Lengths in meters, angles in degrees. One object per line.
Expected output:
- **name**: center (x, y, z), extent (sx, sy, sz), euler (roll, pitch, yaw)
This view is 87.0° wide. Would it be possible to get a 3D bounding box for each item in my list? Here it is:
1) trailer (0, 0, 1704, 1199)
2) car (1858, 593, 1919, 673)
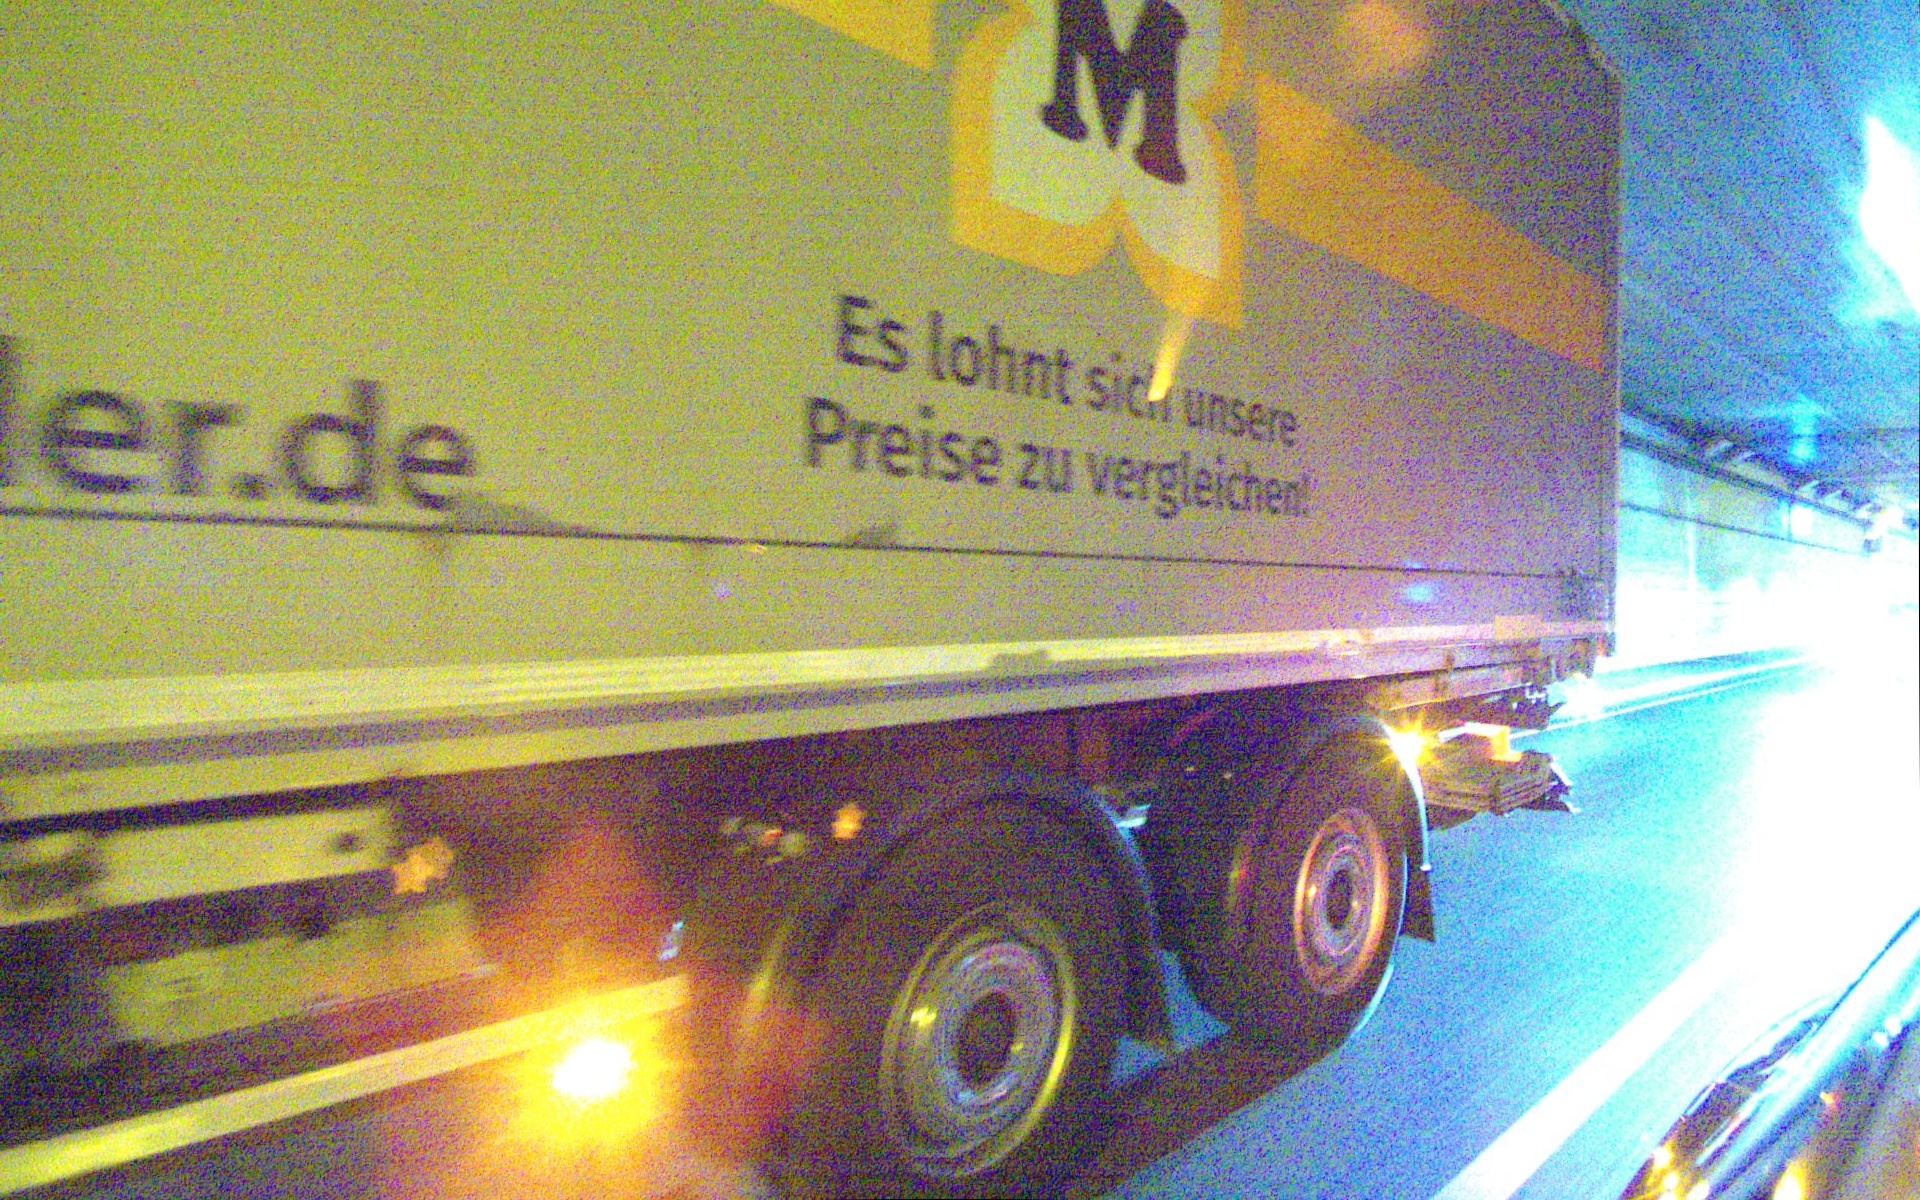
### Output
- **trailer**: center (-0.795, -0.580, 3.051), extent (8.789, 3.906, 2.881), euler (0, 1, -40)
- **car**: center (18.882, 0.600, 19.618), extent (3.733, 1.420, 1.734), euler (-1, 1, -41)
